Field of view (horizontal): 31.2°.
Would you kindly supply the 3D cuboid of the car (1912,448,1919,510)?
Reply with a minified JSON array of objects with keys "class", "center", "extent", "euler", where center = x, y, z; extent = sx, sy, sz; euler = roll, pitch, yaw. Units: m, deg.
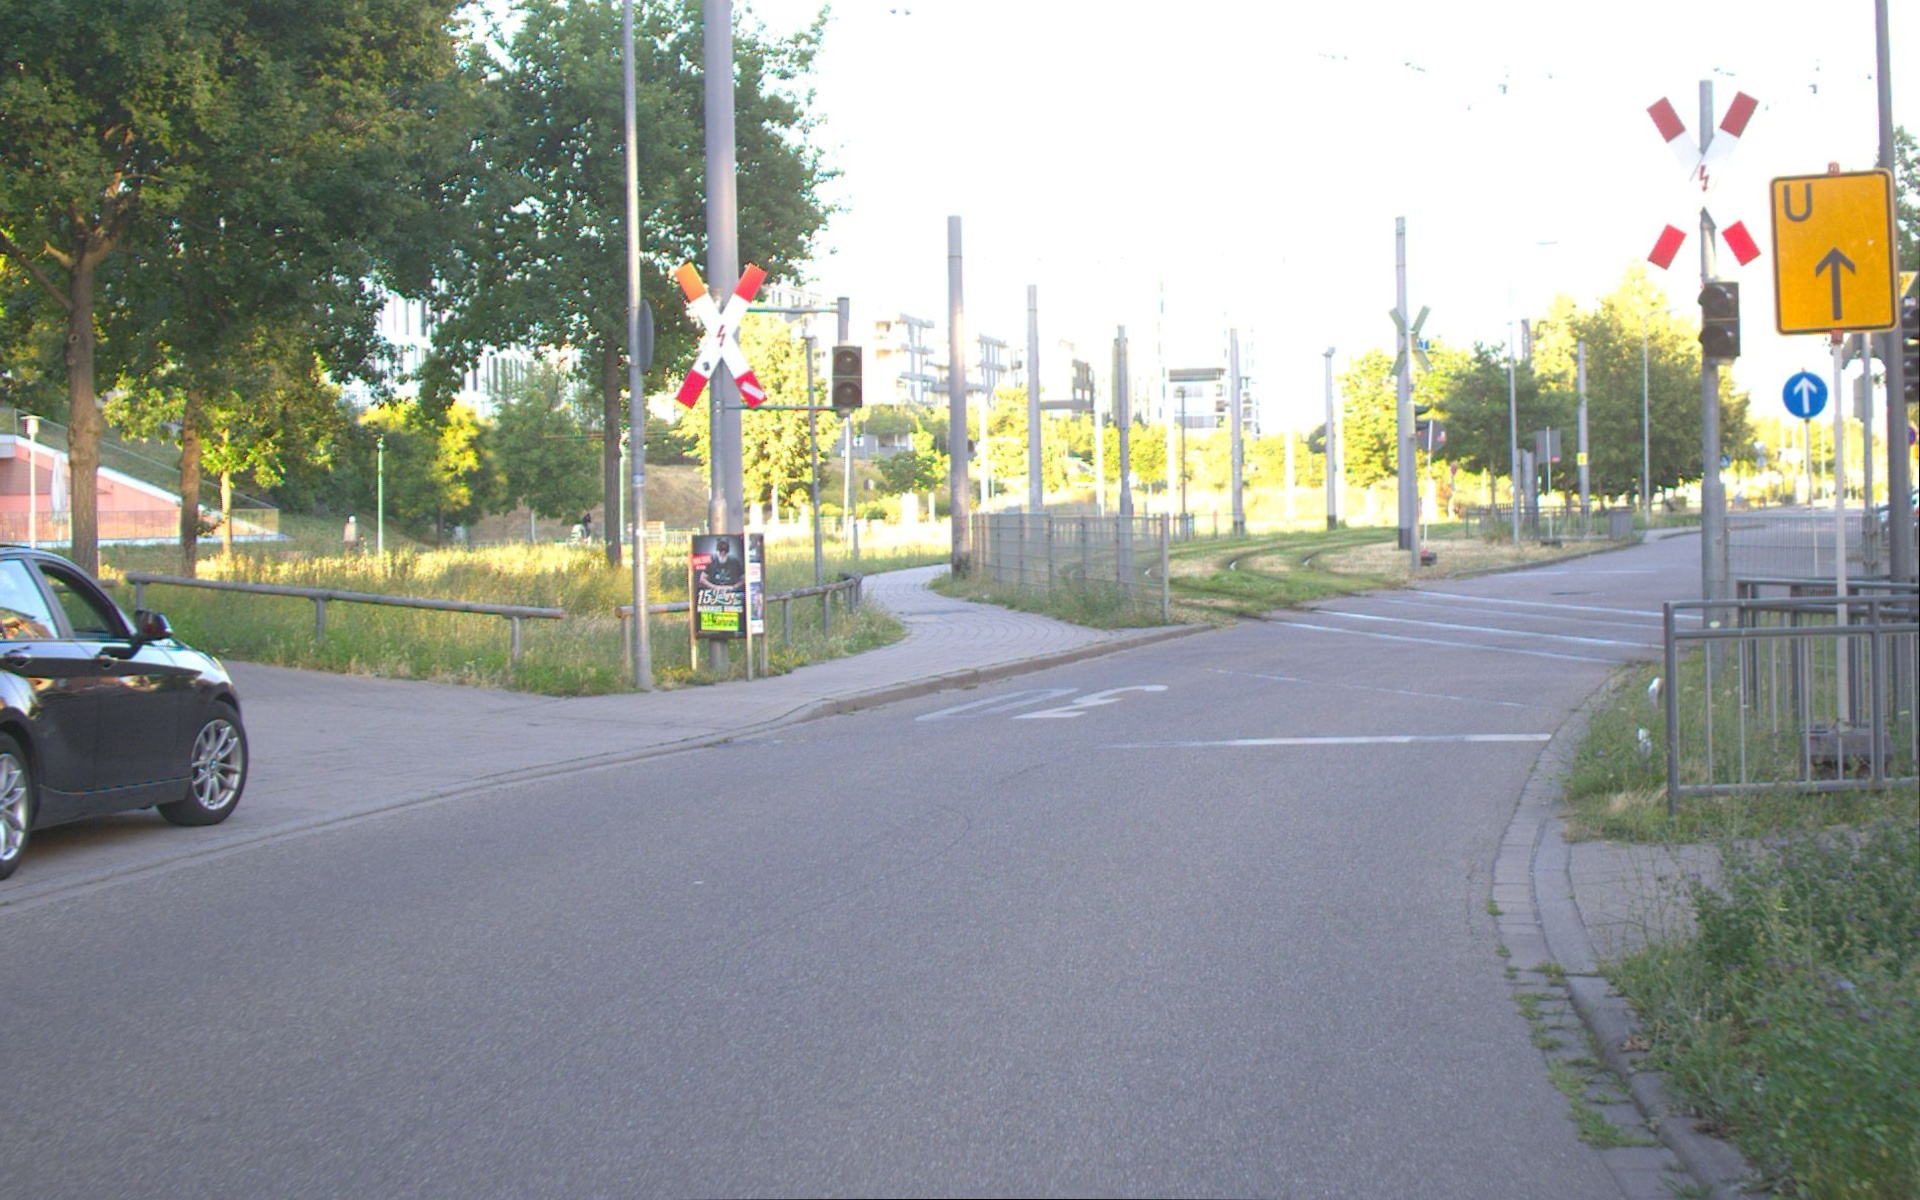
[{"class":"car","center":[26.562,-3.129,88.109],"extent":[4.156,1.570,1.702],"euler":[0,2,16]}]

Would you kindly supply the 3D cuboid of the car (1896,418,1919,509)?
[{"class":"car","center":[29.164,-3.955,99.048],"extent":[4.156,2.575,1.702],"euler":[0,2,13]}]

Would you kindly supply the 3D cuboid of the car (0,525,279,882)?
[{"class":"car","center":[-4.670,0.386,15.286],"extent":[1.944,1.378,4.398],"euler":[1,2,7]}]
